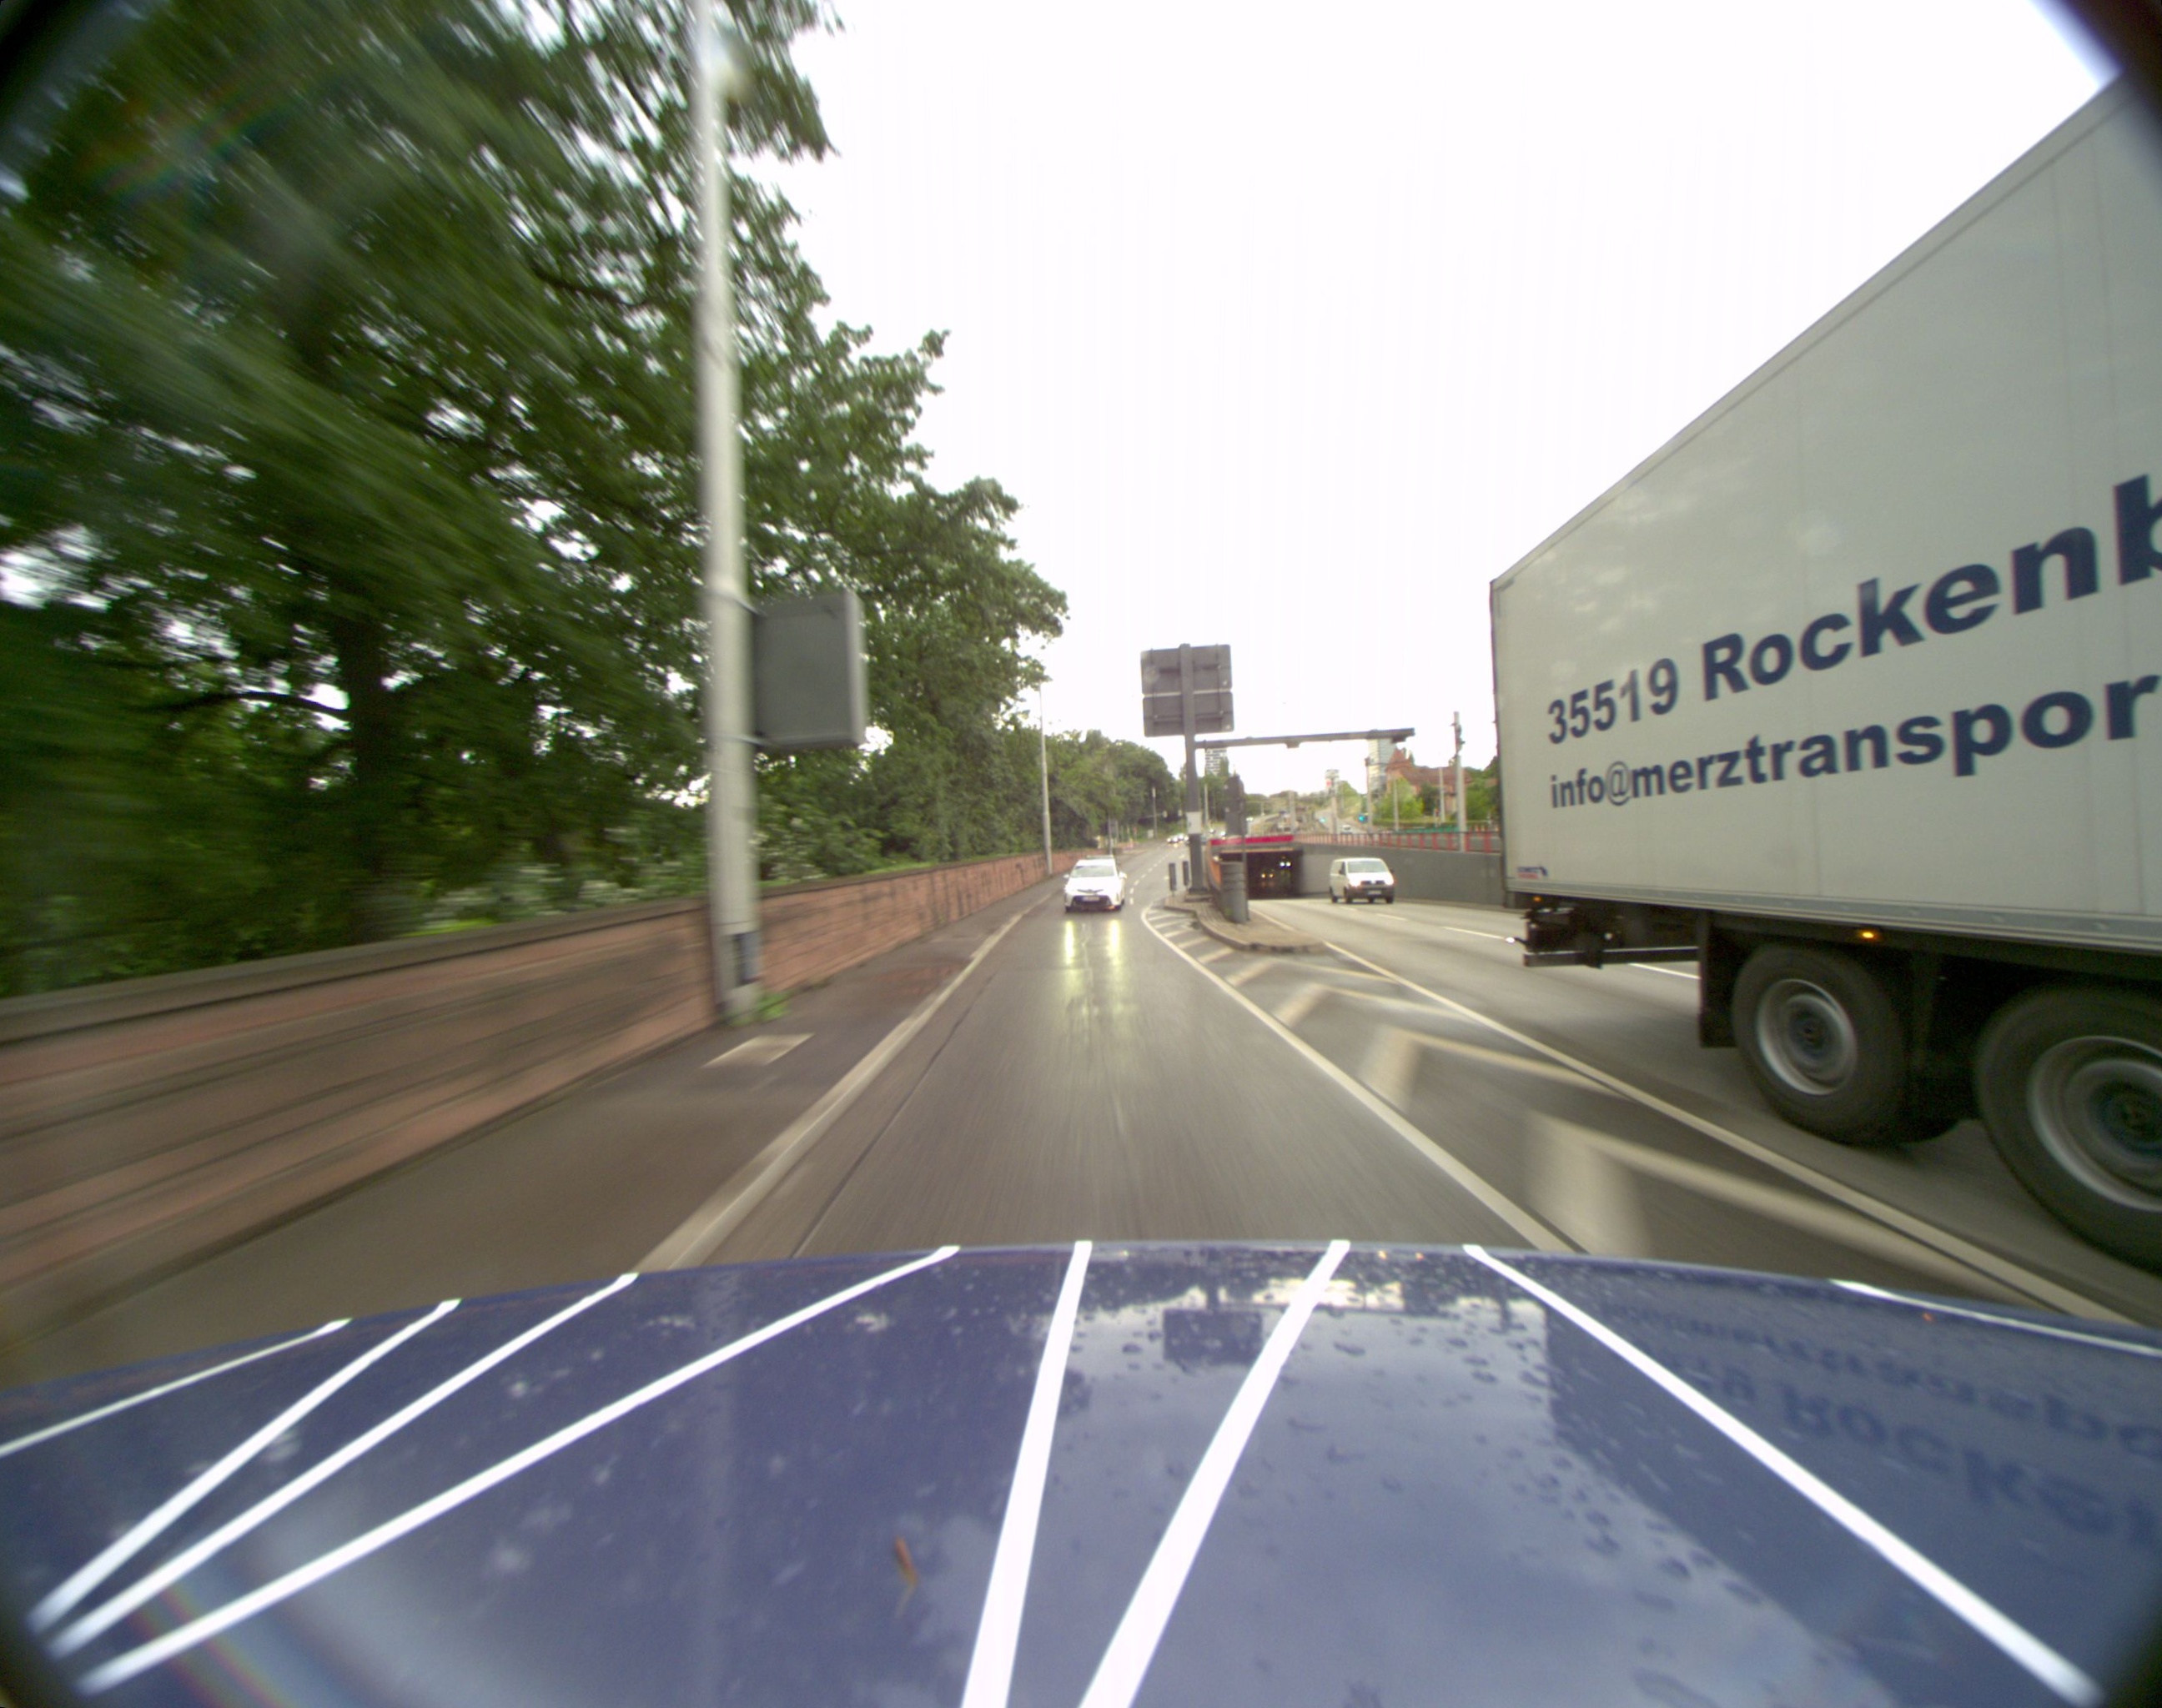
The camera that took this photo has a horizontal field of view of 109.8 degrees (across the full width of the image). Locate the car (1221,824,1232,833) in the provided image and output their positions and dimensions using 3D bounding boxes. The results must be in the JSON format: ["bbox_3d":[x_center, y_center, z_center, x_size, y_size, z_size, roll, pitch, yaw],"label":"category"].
[{"bbox_3d":[32.606,-5.719,170.505,1.736,1.579,4.003,-2,4,19],"label":"car"}]

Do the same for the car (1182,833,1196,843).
[{"bbox_3d":[20.236,-2.984,142.027,1.736,1.579,4.003,-2,4,19],"label":"car"}]

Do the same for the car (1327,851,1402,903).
[{"bbox_3d":[12.205,1.006,33.006,1.997,2.014,4.690,-3,-2,8],"label":"car"}]

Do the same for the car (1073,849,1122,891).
[{"bbox_3d":[0.860,0.720,36.644,1.855,1.579,3.999,-3,4,7],"label":"car"}]

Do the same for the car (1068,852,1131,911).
[{"bbox_3d":[0.619,0.822,24.932,1.855,1.741,4.000,-1,1,2],"label":"car"}]

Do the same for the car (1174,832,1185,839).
[{"bbox_3d":[20.849,-3.904,160.813,1.887,1.463,4.012,-3,0,12],"label":"car"}]

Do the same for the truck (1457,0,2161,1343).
[{"bbox_3d":[4.443,-0.628,0.666,2.768,4.173,13.033,-1,1,5],"label":"truck"}]

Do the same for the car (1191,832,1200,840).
[{"bbox_3d":[24.099,-3.748,159.891,1.800,1.503,4.003,-3,0,10],"label":"car"}]

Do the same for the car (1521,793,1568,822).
[{"bbox_3d":[46.410,-4.625,76.225,1.997,2.816,5.719,0,3,9],"label":"car"}]

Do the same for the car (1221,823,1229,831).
[{"bbox_3d":[32.281,-6.059,170.580,1.800,1.463,4.001,-3,3,11],"label":"car"}]

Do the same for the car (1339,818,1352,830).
[{"bbox_3d":[49.628,-5.661,142.708,1.996,2.003,4.001,-2,5,15],"label":"car"}]

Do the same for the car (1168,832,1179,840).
[{"bbox_3d":[18.007,-3.475,147.887,1.887,1.463,4.012,-3,0,12],"label":"car"}]
